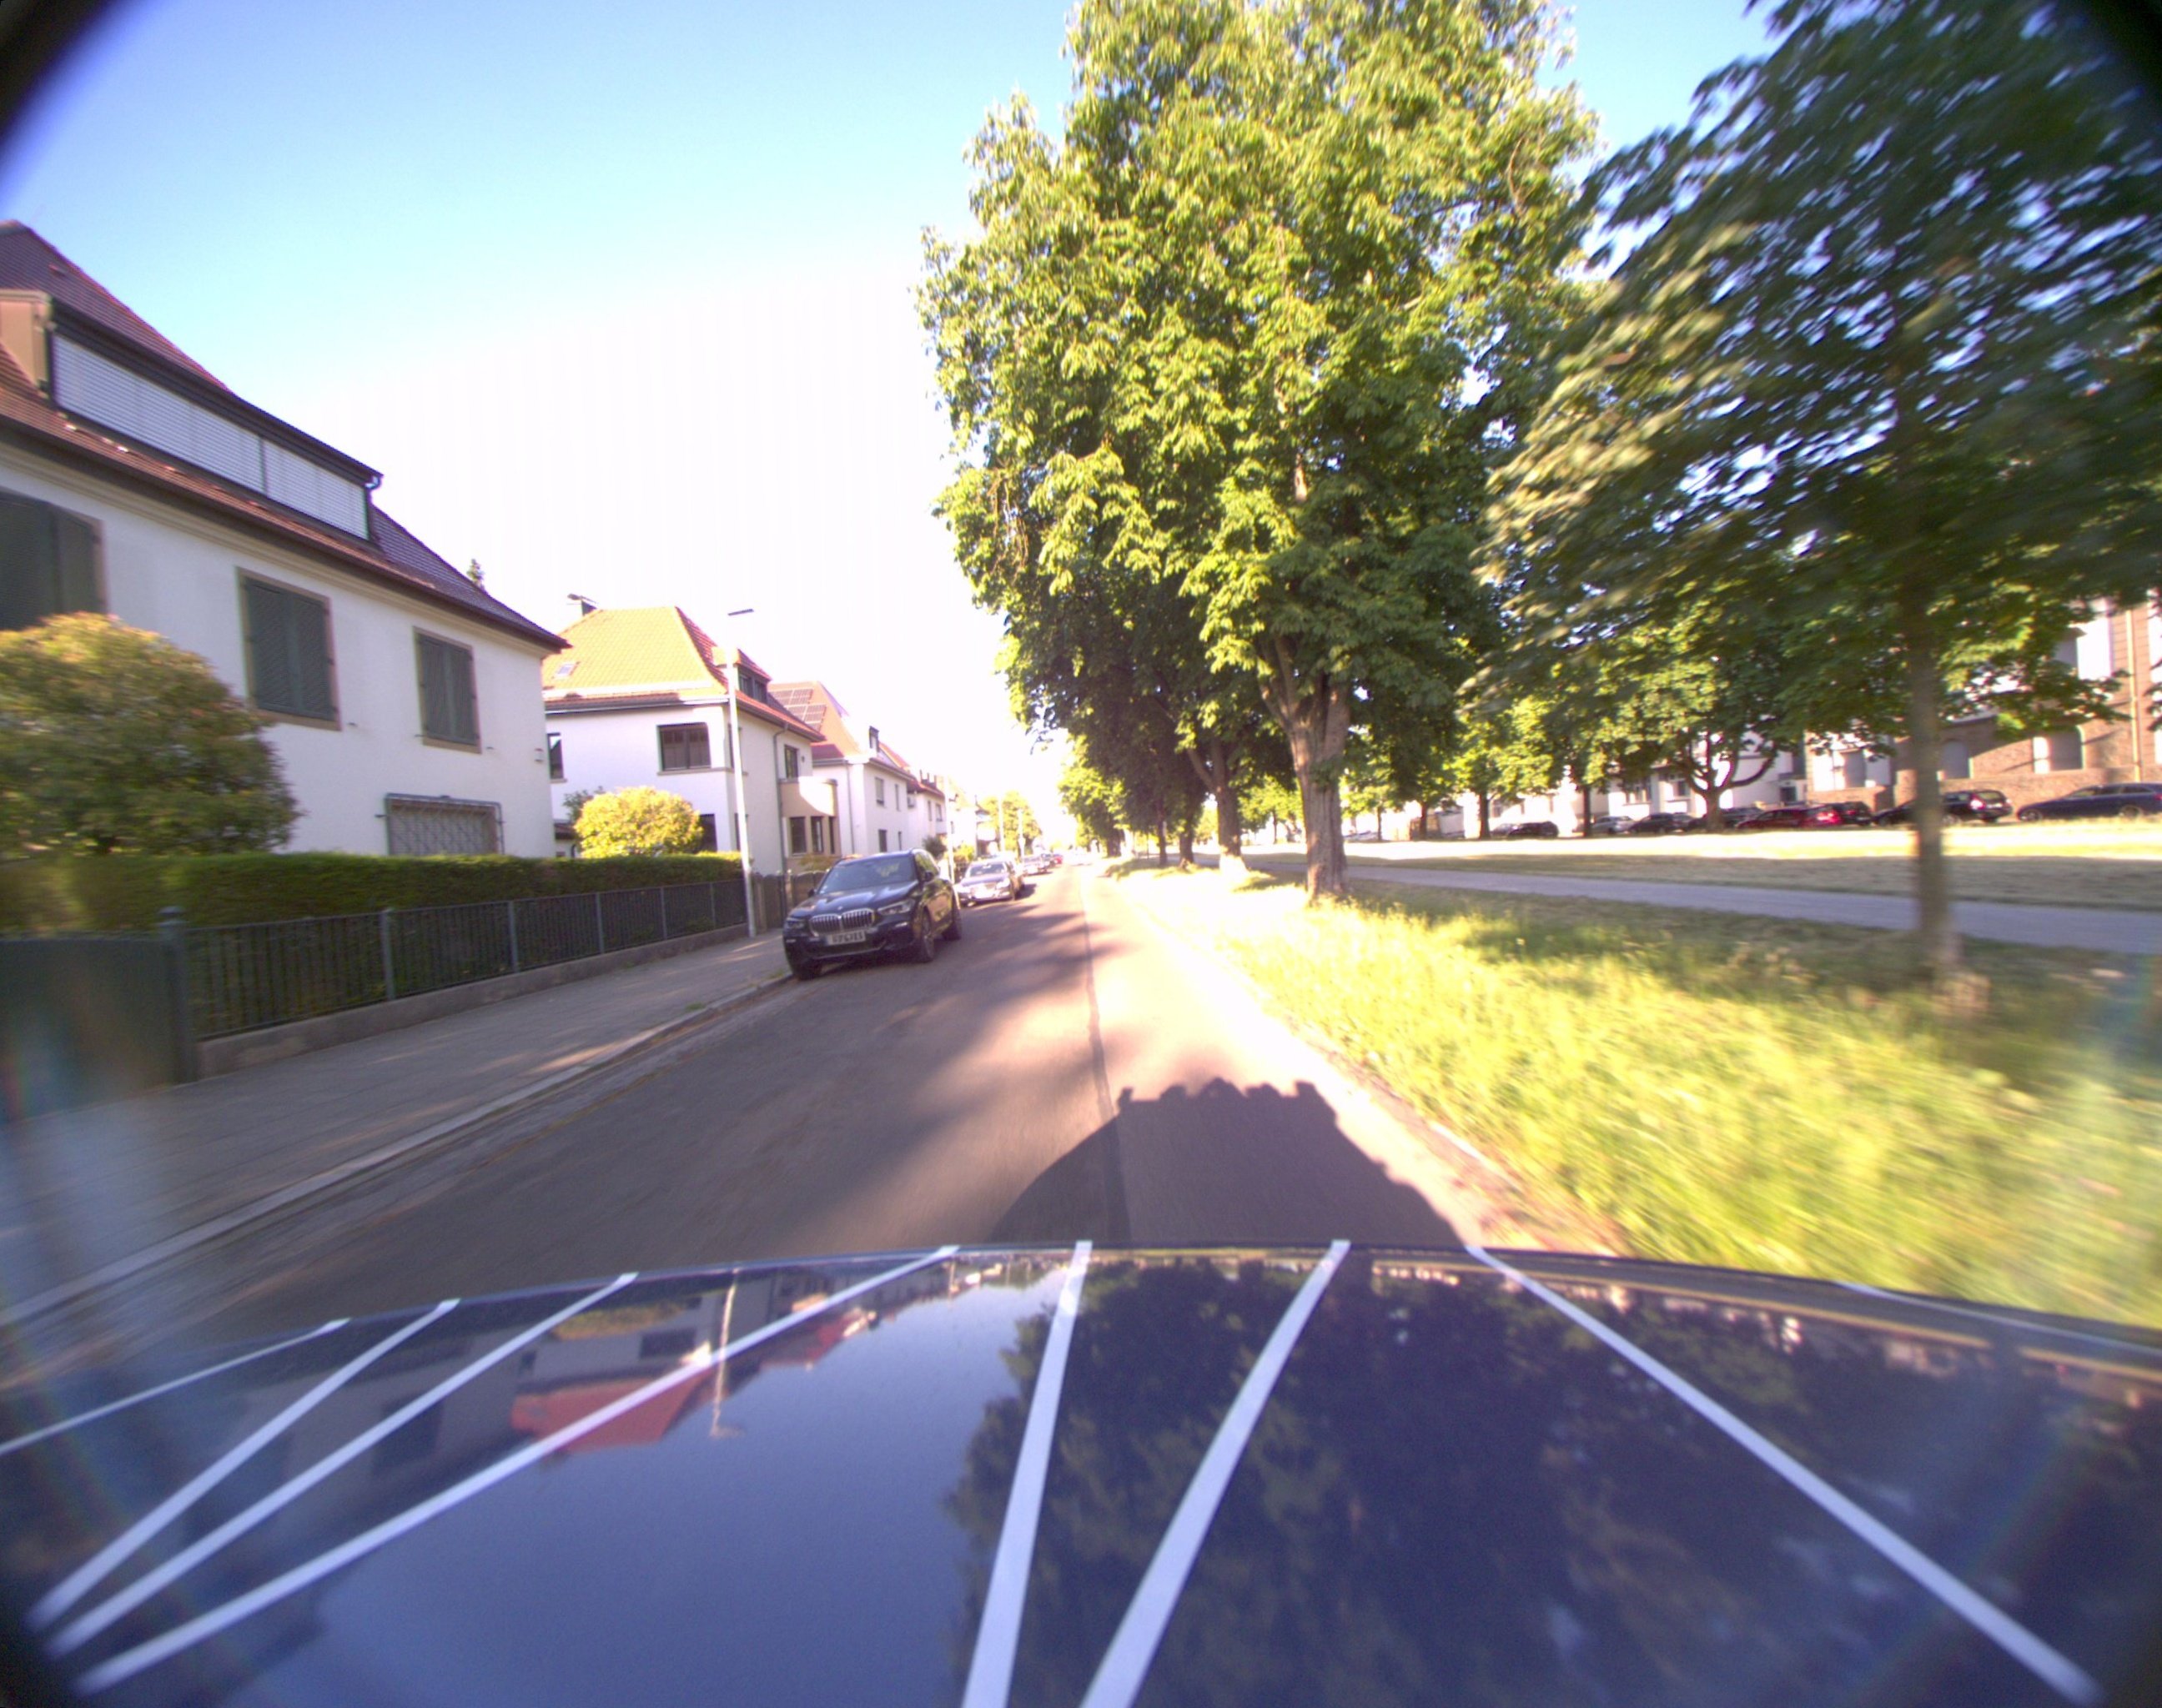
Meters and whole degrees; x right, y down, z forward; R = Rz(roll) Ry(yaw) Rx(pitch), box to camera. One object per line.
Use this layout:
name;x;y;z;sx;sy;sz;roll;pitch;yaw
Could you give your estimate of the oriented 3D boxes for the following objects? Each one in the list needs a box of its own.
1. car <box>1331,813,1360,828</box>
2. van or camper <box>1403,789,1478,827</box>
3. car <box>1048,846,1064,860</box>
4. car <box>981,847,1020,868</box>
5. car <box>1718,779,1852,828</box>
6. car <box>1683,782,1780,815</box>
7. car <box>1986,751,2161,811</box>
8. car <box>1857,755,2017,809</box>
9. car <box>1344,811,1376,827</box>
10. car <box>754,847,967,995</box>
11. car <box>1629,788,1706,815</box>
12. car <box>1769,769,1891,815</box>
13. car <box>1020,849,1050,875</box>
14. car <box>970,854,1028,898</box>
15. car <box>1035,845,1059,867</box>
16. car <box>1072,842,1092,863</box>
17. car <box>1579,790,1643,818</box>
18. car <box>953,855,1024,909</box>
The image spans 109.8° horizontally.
car;33.919;-4.330;97.701;1.998;1.680;4.875;-4;1;1
van or camper;34.003;-4.261;72.228;3.262;3.093;7.895;-4;1;1
car;-3.155;-0.139;96.117;1.824;1.486;4.223;-4;1;-1
car;-8.642;0.364;81.729;3.998;1.917;1.999;-4;1;-3
car;33.815;-2.371;36.742;1.998;2.002;4.875;-4;1;2
car;39.535;-3.335;46.353;1.999;1.643;4.428;-4;1;-1
car;39.422;-2.768;29.634;2.000;1.739;5.005;2;-1;-6
car;39.508;-3.245;35.303;1.998;2.002;4.875;-4;1;2
car;33.758;-4.249;92.143;1.998;1.680;4.875;-4;1;1
car;-3.297;0.872;12.544;1.999;1.727;4.862;-6;1;-1
car;39.896;-3.553;51.828;1.998;1.421;4.169;-4;1;2
car;39.596;-3.213;40.328;1.999;2.002;4.428;-4;1;-1
car;-3.124;0.531;52.649;1.784;1.491;4.396;-6;1;-1
car;-3.446;0.864;32.706;1.999;1.456;4.548;-8;1;-2
car;-3.102;0.151;70.174;1.863;1.710;4.466;-9;1;-1
car;0.115;-0.170;81.297;1.998;2.002;3.999;-5;1;0
car;39.527;-3.677;56.742;1.998;1.725;4.000;-4;1;2
car;-3.104;0.900;26.512;1.784;1.454;4.592;-7;1;0
